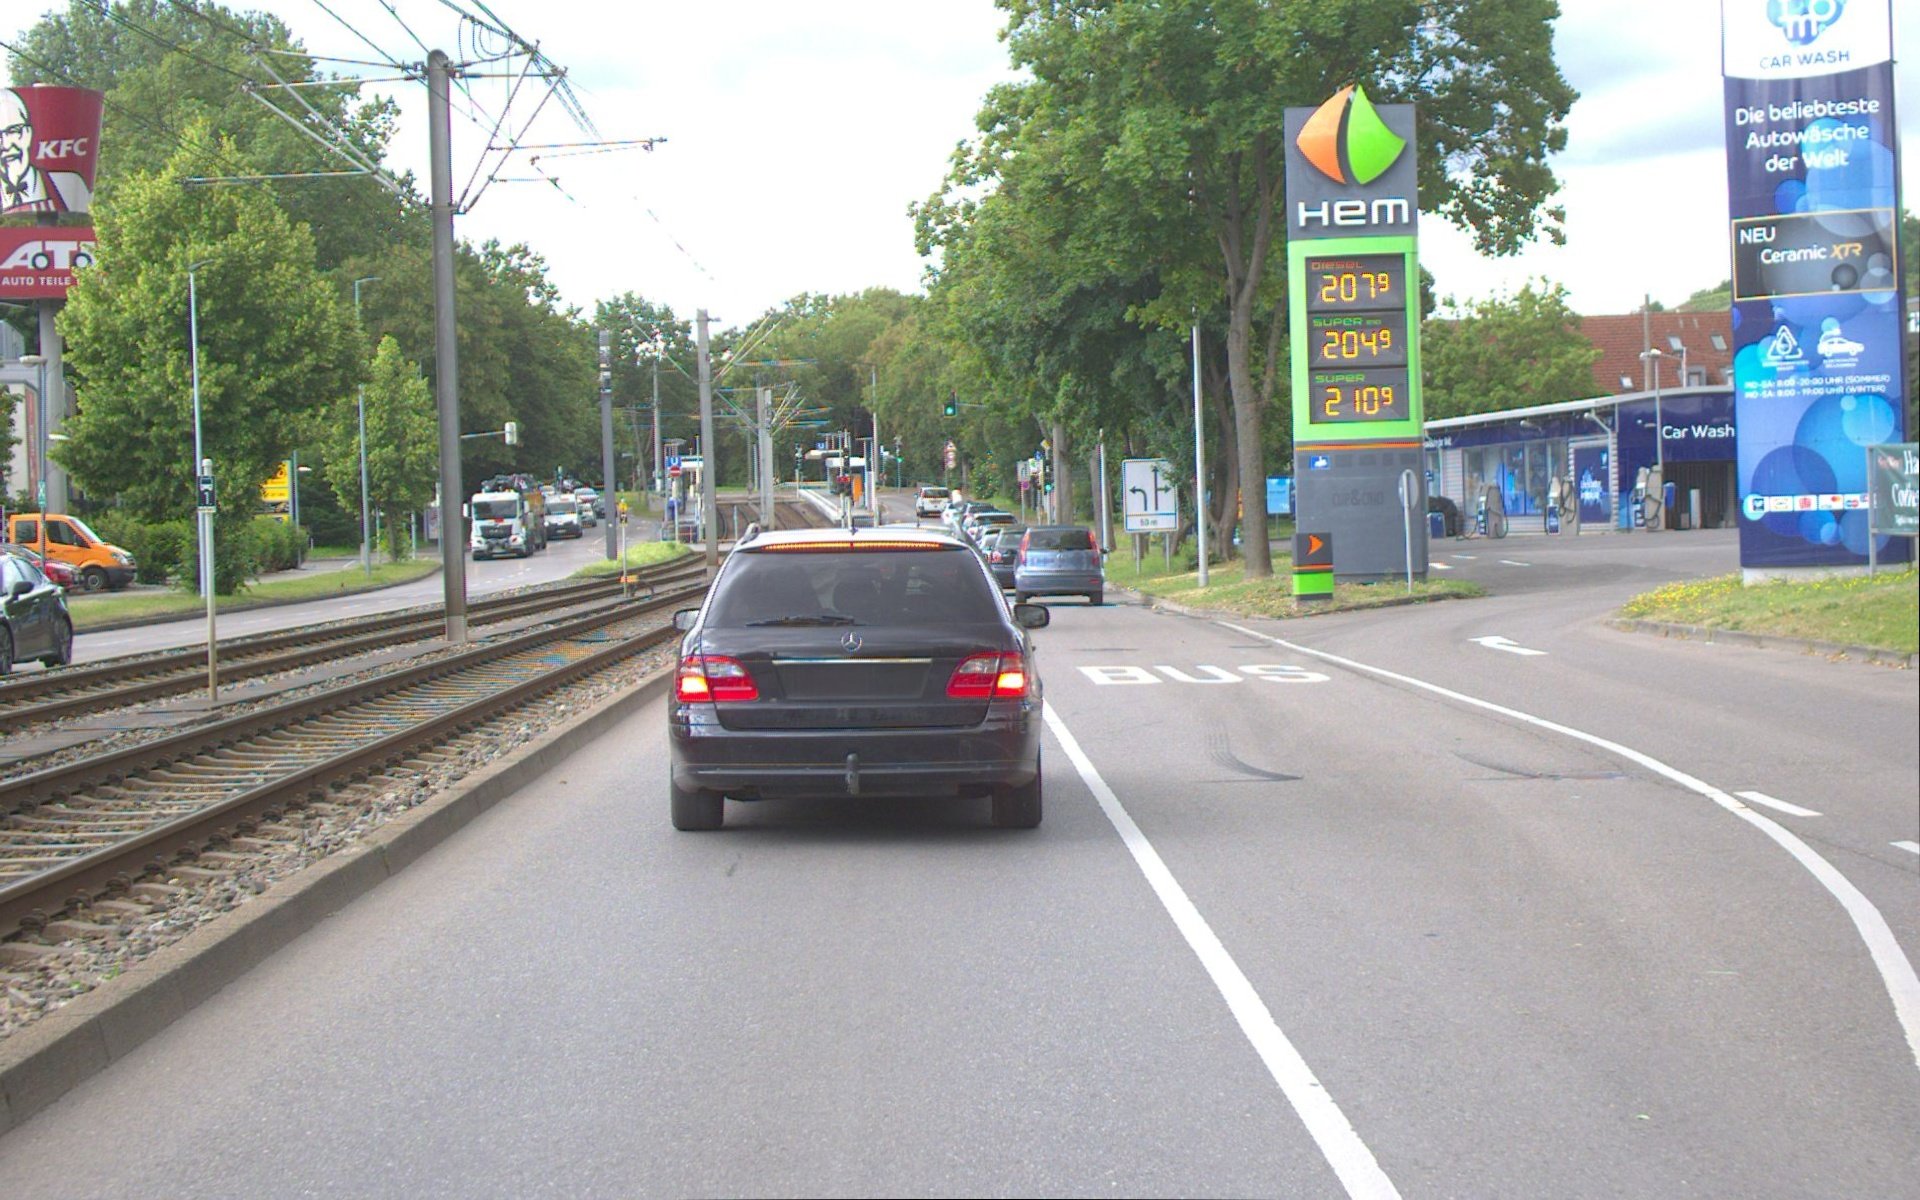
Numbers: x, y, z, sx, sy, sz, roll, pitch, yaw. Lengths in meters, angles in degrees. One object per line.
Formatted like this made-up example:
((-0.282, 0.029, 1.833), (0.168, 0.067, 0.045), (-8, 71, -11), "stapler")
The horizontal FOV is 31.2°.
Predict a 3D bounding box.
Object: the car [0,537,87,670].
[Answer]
((-11.266, 0.069, 38.717), (1.759, 1.396, 4.444), (-4, 2, -2), "car")

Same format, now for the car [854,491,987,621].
((-0.562, -0.632, 48.551), (1.780, 1.744, 3.718), (0, 1, -1), "car")

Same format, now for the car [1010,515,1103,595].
((1.756, -0.838, 63.410), (1.571, 1.410, 3.354), (0, 1, -1), "car")

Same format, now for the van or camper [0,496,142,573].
((-25.113, -1.845, 96.430), (3.986, 2.127, 1.878), (0, 1, -5), "van or camper")

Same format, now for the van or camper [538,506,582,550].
((-22.672, -4.098, 194.959), (1.993, 2.346, 5.767), (-2, 1, -3), "van or camper")

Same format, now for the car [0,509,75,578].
((-25.664, -1.506, 91.178), (3.986, 1.791, 1.878), (0, 1, -5), "car")

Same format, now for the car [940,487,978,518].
((-0.059, -5.450, 192.277), (1.993, 1.708, 4.000), (-2, 2, -1), "car")

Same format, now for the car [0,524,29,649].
((-14.588, -0.161, 48.732), (1.792, 1.766, 4.001), (-2, 1, -2), "car")

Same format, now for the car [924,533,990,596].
((-0.082, -0.829, 79.124), (1.466, 1.410, 3.354), (0, 1, -1), "car")

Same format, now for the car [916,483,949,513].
((-1.719, -6.363, 214.581), (1.993, 1.831, 4.000), (0, 1, -1), "car")

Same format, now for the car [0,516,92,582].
((-24.131, -1.257, 86.809), (3.986, 1.594, 1.878), (-2, 2, -5), "car")

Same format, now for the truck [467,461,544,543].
((-21.358, -4.578, 161.986), (2.706, 3.651, 11.114), (-2, 1, -4), "truck")

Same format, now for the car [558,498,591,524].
((-24.661, -5.702, 219.911), (1.765, 1.641, 3.771), (0, 1, -1), "car")

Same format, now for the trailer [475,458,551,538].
((-21.702, -4.948, 167.408), (2.704, 3.648, 13.301), (-2, 1, -4), "trailer")

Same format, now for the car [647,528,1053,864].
((-0.516, 0.388, 17.307), (1.808, 1.469, 3.881), (0, 2, -1), "car")

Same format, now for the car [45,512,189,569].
((-25.717, -1.836, 105.000), (3.986, 1.594, 1.797), (-2, 2, -5), "car")

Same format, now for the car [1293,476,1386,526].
((13.719, -3.577, 124.136), (2.008, 1.676, 4.574), (-1, 2, 24), "car")
